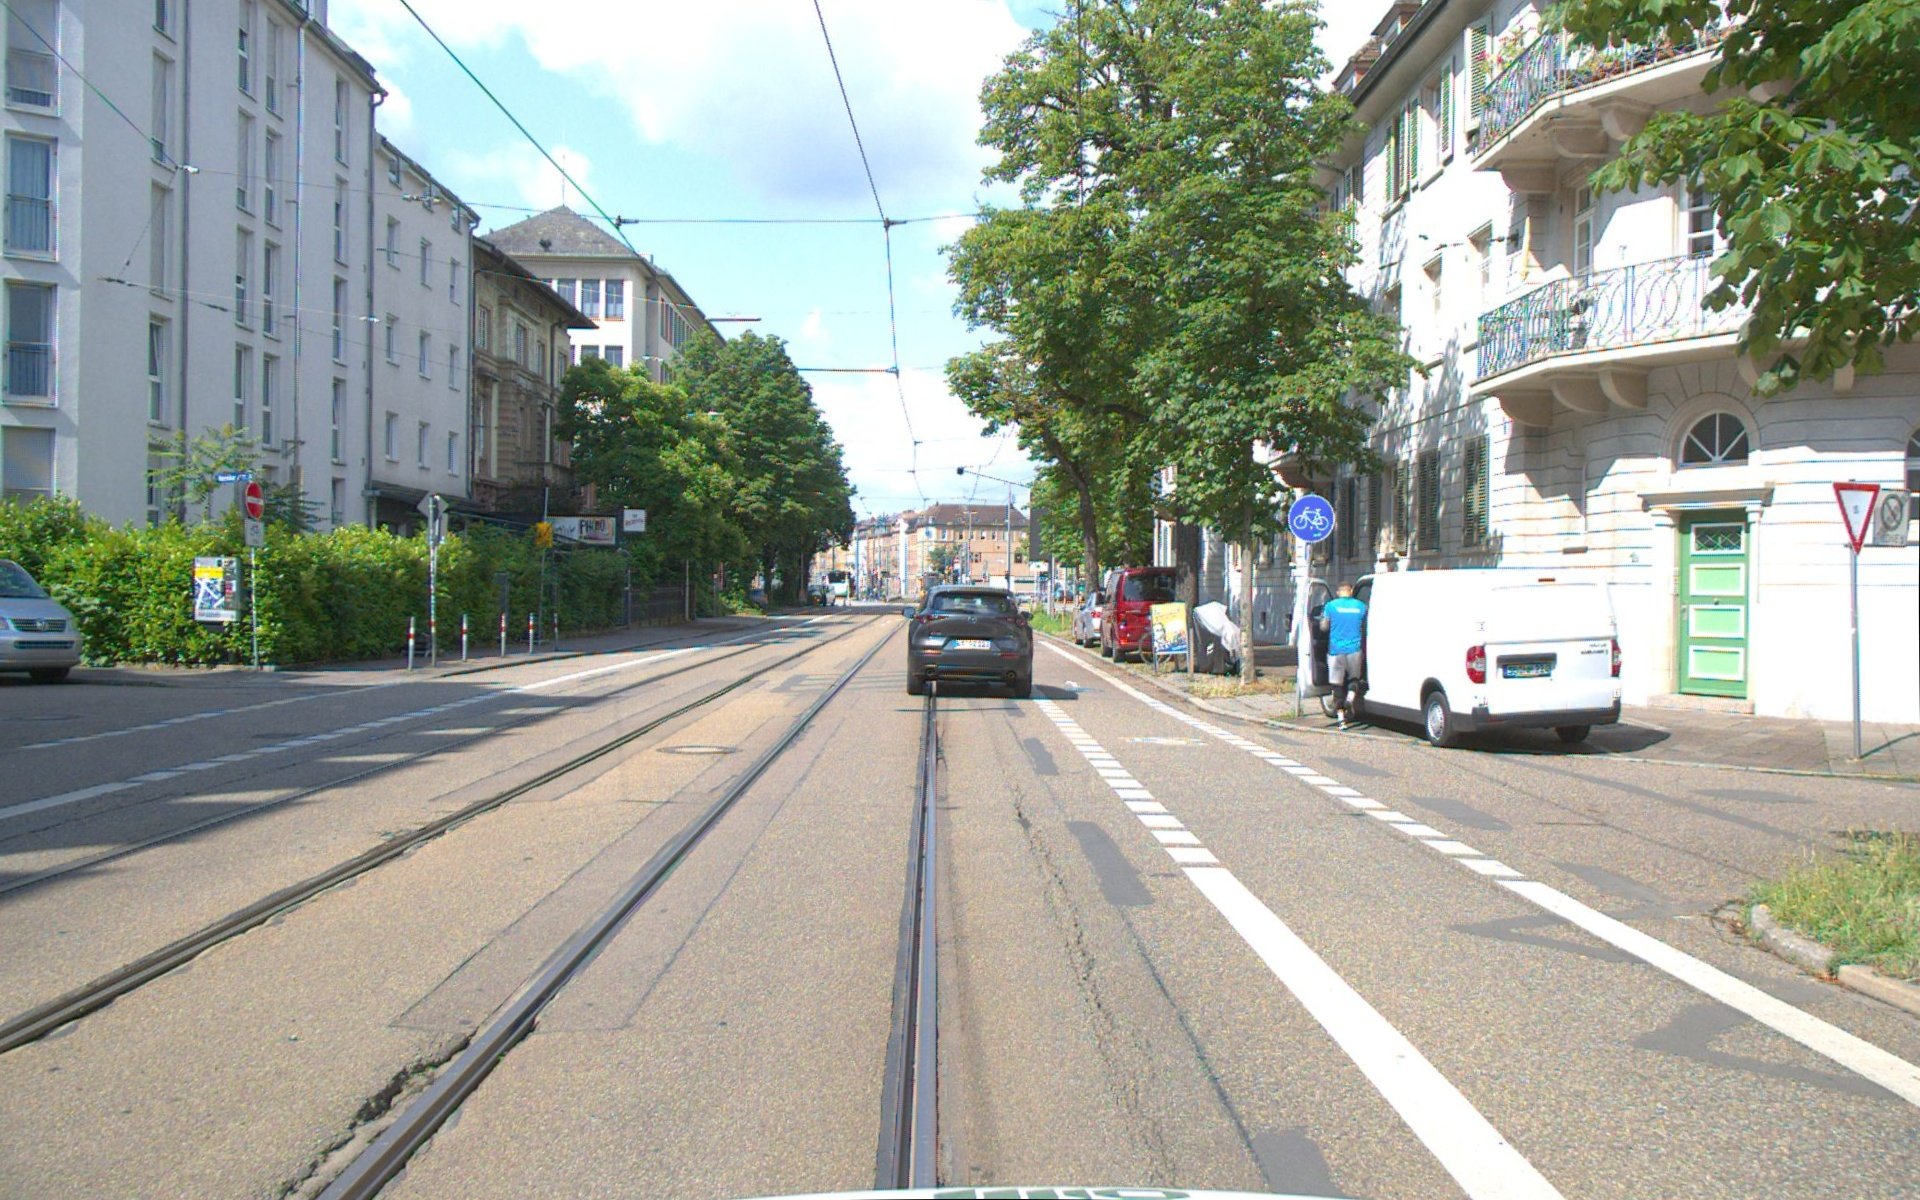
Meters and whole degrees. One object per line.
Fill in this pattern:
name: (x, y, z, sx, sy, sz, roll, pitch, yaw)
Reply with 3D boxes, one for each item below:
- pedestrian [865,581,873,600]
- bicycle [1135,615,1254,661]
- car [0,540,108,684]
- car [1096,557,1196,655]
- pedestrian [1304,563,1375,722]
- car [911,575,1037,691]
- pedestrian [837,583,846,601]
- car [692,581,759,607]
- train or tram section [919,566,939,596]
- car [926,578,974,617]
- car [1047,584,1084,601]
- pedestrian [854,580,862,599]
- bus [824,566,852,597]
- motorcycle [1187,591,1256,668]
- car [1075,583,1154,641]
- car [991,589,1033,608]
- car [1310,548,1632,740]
pedestrian: (-9.570, -0.989, 174.126, 0.867, 2.049, 0.617, 1, 0, -5)
bicycle: (4.601, 0.741, 32.537, 2.229, 0.876, 0.671, 1, 0, -2)
car: (-15.538, 0.134, 25.166, 4.566, 2.049, 2.047, 1, 0, 21)
car: (4.019, 0.103, 36.353, 1.685, 2.003, 4.207, 1, 0, 0)
pedestrian: (4.640, 0.497, 20.177, 0.797, 1.868, 0.963, 1, 1, 14)
car: (0.150, 0.429, 24.072, 1.686, 1.553, 3.588, 1, 0, -1)
pedestrian: (-10.746, -0.722, 149.737, 0.736, 1.537, 0.823, 1, 0, -6)
car: (-13.476, -0.336, 95.184, 3.674, 1.309, 1.609, 3, 0, -5)
train or tram section: (-3.983, -2.445, 215.857, 2.519, 3.838, 13.024, 1, 1, -1)
car: (-0.457, -0.104, 71.770, 1.953, 1.555, 3.999, 3, 0, -1)
car: (11.448, -0.783, 179.364, 3.770, 1.646, 1.620, 3, 0, -33)
pedestrian: (-10.731, -1.103, 174.027, 0.867, 2.049, 0.617, 1, 0, -5)
bus: (-14.488, -2.173, 195.648, 2.637, 3.480, 11.001, 3, 0, -7)
motorcycle: (4.653, 0.501, 29.596, 0.778, 1.293, 2.422, 1, 0, -1)
car: (4.064, 0.284, 43.974, 1.686, 1.449, 3.588, 1, 0, -1)
car: (5.075, -0.132, 161.622, 3.749, 1.646, 1.629, 3, 0, -19)
car: (5.836, 0.422, 19.618, 1.753, 1.972, 4.983, 0, 1, -7)
